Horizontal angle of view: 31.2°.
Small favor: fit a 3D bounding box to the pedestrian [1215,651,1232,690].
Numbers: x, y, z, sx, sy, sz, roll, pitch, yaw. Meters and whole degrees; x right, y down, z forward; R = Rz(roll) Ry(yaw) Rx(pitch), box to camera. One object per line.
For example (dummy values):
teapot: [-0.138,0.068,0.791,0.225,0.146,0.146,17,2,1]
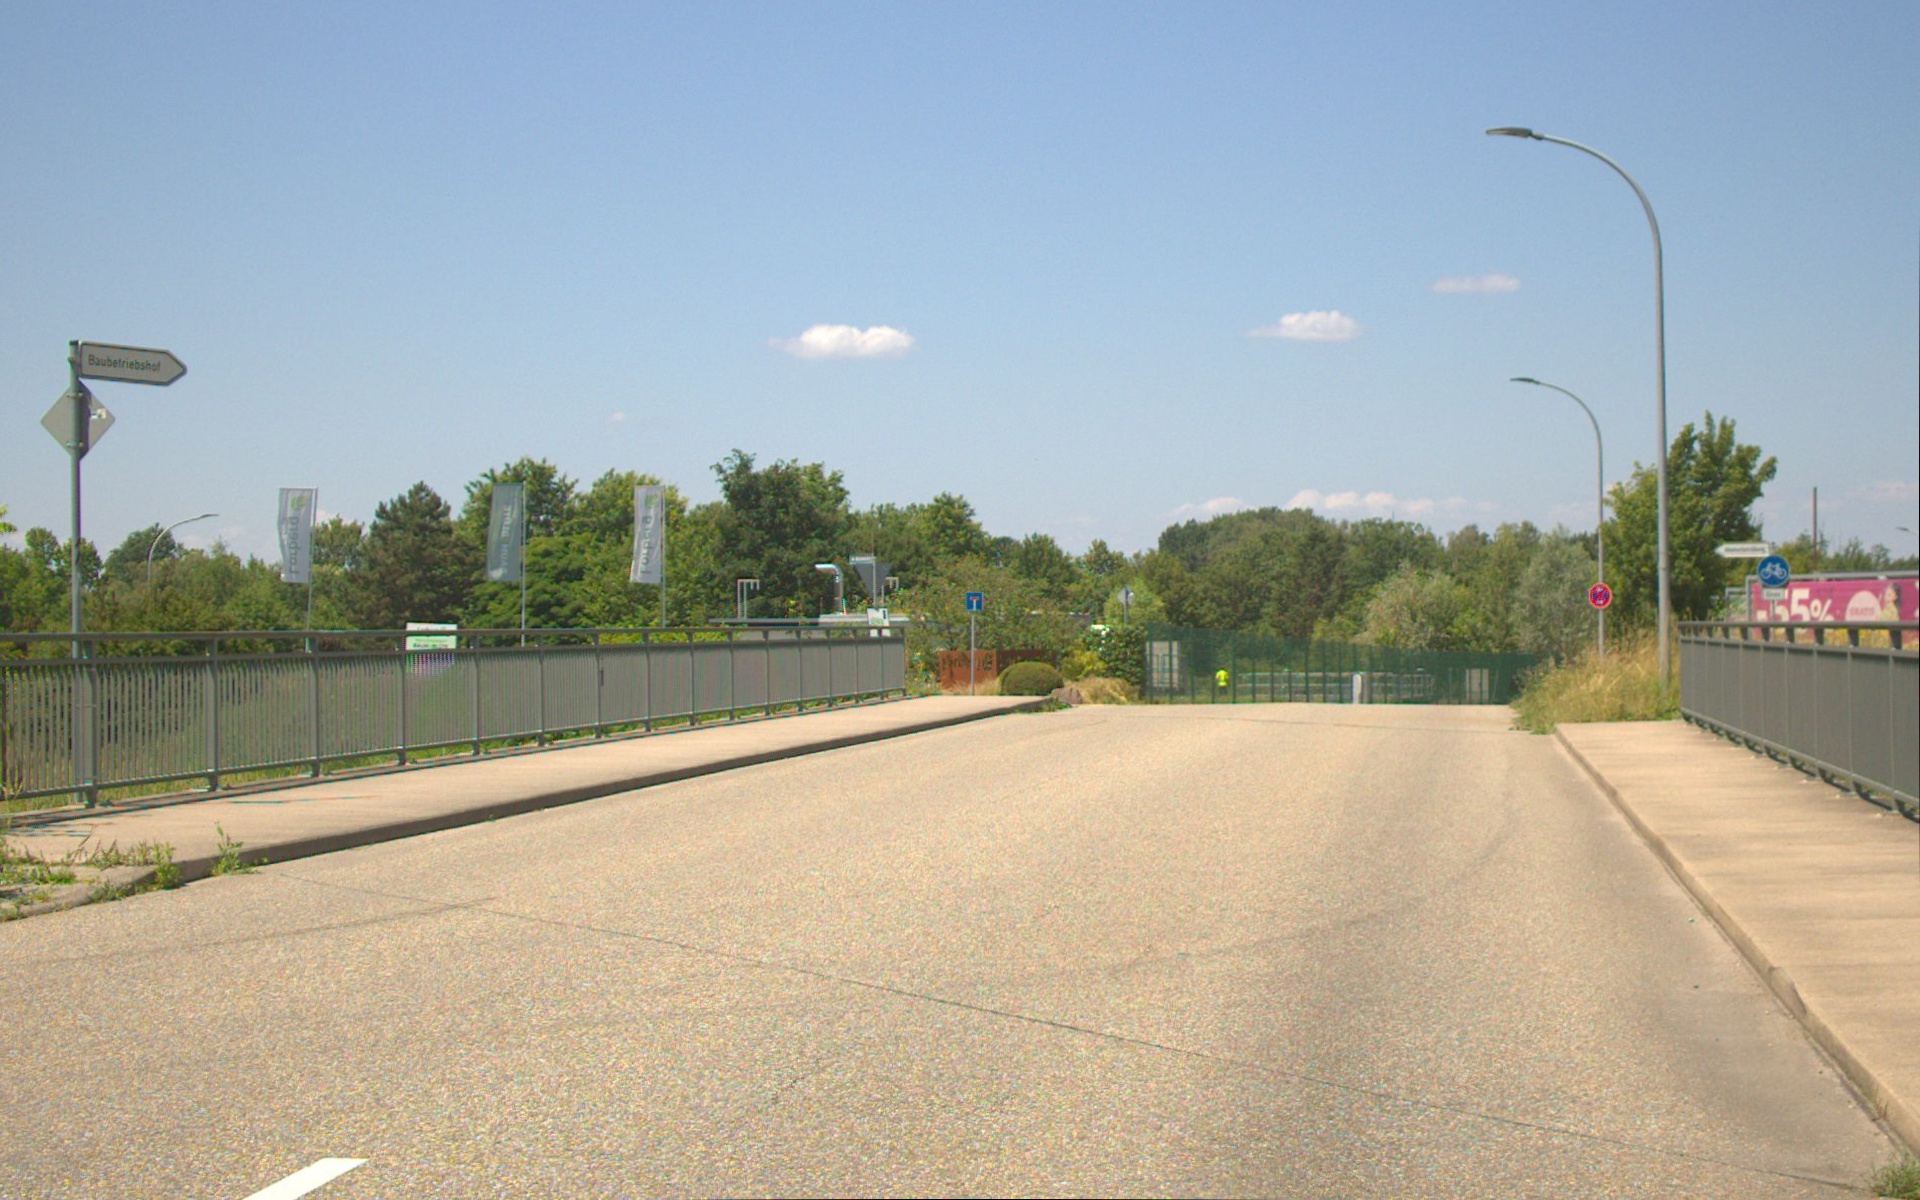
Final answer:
pedestrian: [12.564,3.368,163.861,0.606,1.833,0.804,-1,-2,17]
